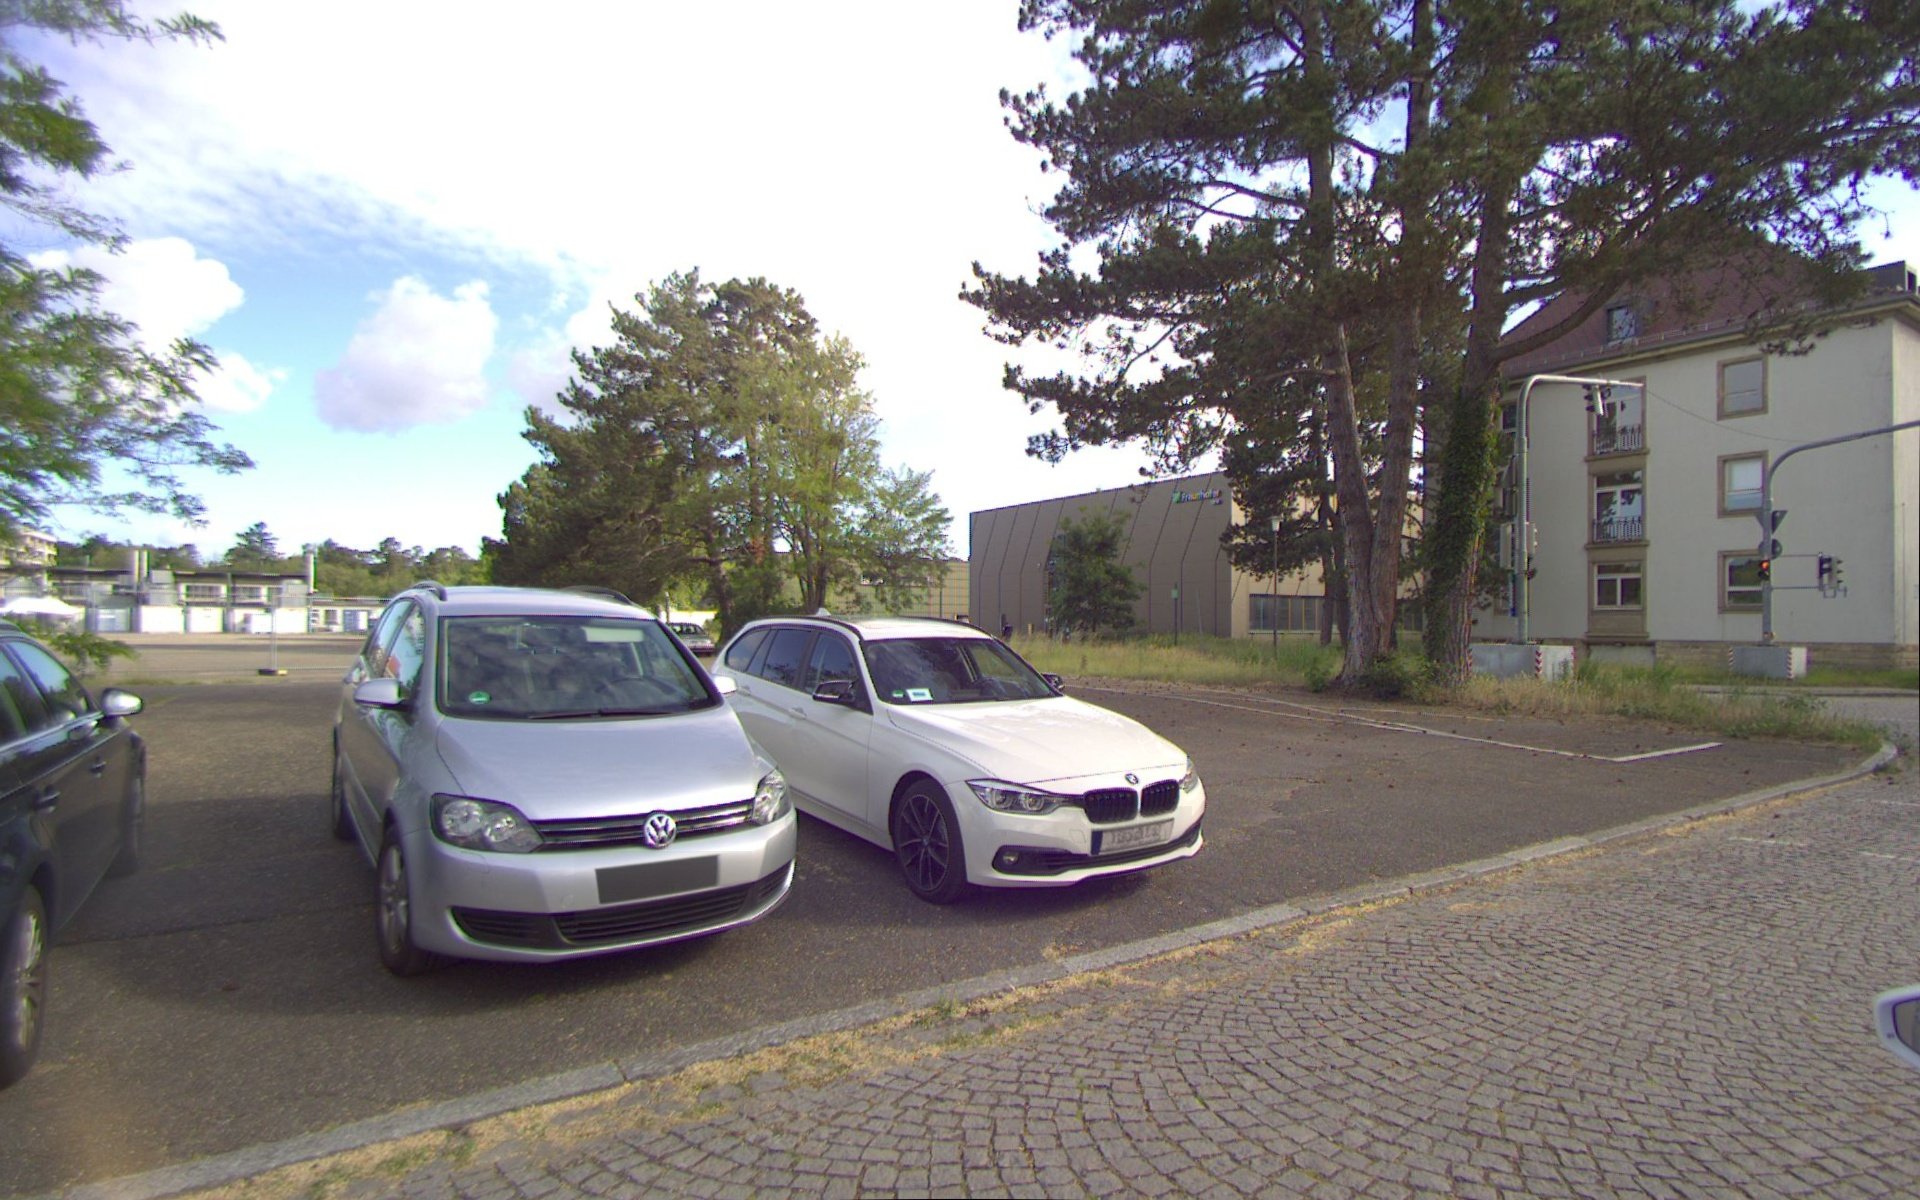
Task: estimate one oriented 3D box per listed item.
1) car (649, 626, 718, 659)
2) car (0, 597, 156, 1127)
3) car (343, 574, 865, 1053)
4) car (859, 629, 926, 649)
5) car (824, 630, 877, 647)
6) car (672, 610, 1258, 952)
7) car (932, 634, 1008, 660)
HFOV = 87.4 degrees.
[{"bbox_3d":[-12.024,1.796,43.567,1.577,1.355,3.703,1,-2,-38],"label":"car"},{"bbox_3d":[-4.254,0.751,3.662,1.677,1.427,3.812,1,1,-33],"label":"car"},{"bbox_3d":[-2.225,0.709,5.502,1.718,1.628,3.805,1,1,-35],"label":"car"},{"bbox_3d":[-4.414,2.561,66.013,4.148,1.289,1.598,1,-2,-30],"label":"car"},{"bbox_3d":[-7.903,2.793,72.486,3.623,1.217,1.319,1,-2,-30],"label":"car"},{"bbox_3d":[-0.336,0.877,7.013,1.813,1.461,4.446,1,1,-36],"label":"car"},{"bbox_3d":[0.584,2.692,58.359,4.083,1.433,1.750,1,-2,-30],"label":"car"}]
